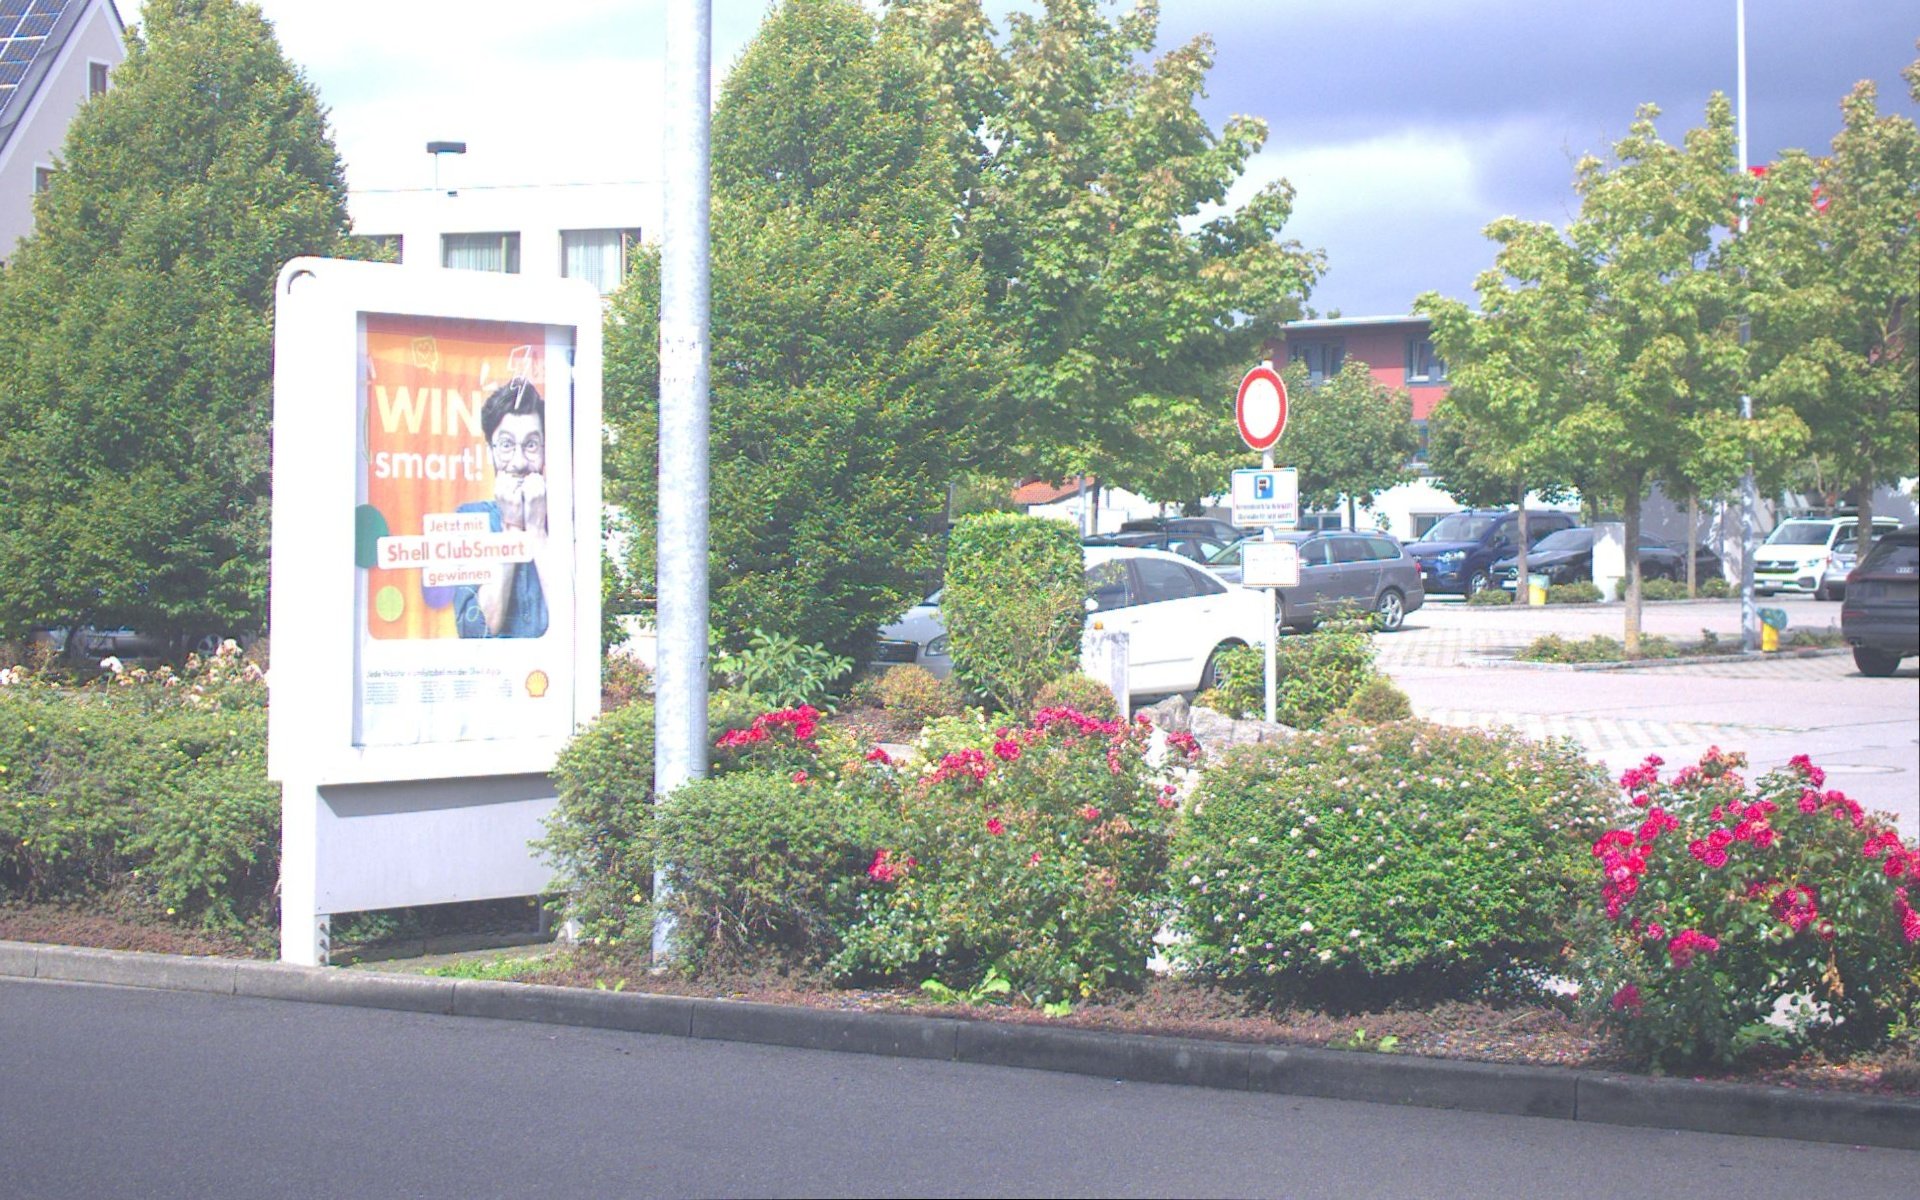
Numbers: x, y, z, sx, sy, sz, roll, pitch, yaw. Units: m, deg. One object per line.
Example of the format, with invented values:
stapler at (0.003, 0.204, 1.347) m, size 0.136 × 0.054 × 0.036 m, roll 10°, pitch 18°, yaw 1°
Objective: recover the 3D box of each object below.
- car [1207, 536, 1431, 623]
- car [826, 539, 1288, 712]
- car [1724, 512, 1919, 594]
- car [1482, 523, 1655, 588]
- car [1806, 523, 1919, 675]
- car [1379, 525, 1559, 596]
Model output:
car at (5.212, -0.292, 49.735) m, size 3.218 × 1.224 × 1.505 m, roll 0°, pitch 1°, yaw -44°
car at (0.913, 0.202, 29.946) m, size 4.332 × 1.399 × 1.370 m, roll 0°, pitch 1°, yaw -44°
car at (20.259, -1.091, 80.660) m, size 4.864 × 1.827 × 2.184 m, roll 0°, pitch 1°, yaw -43°
car at (11.526, -0.843, 65.054) m, size 3.409 × 1.174 × 1.485 m, roll 0°, pitch 1°, yaw -44°
car at (11.143, -0.010, 36.749) m, size 4.491 × 1.543 × 1.885 m, roll 0°, pitch 1°, yaw -43°
car at (9.897, -0.761, 66.802) m, size 3.379 × 1.316 × 1.747 m, roll 0°, pitch 1°, yaw -44°
